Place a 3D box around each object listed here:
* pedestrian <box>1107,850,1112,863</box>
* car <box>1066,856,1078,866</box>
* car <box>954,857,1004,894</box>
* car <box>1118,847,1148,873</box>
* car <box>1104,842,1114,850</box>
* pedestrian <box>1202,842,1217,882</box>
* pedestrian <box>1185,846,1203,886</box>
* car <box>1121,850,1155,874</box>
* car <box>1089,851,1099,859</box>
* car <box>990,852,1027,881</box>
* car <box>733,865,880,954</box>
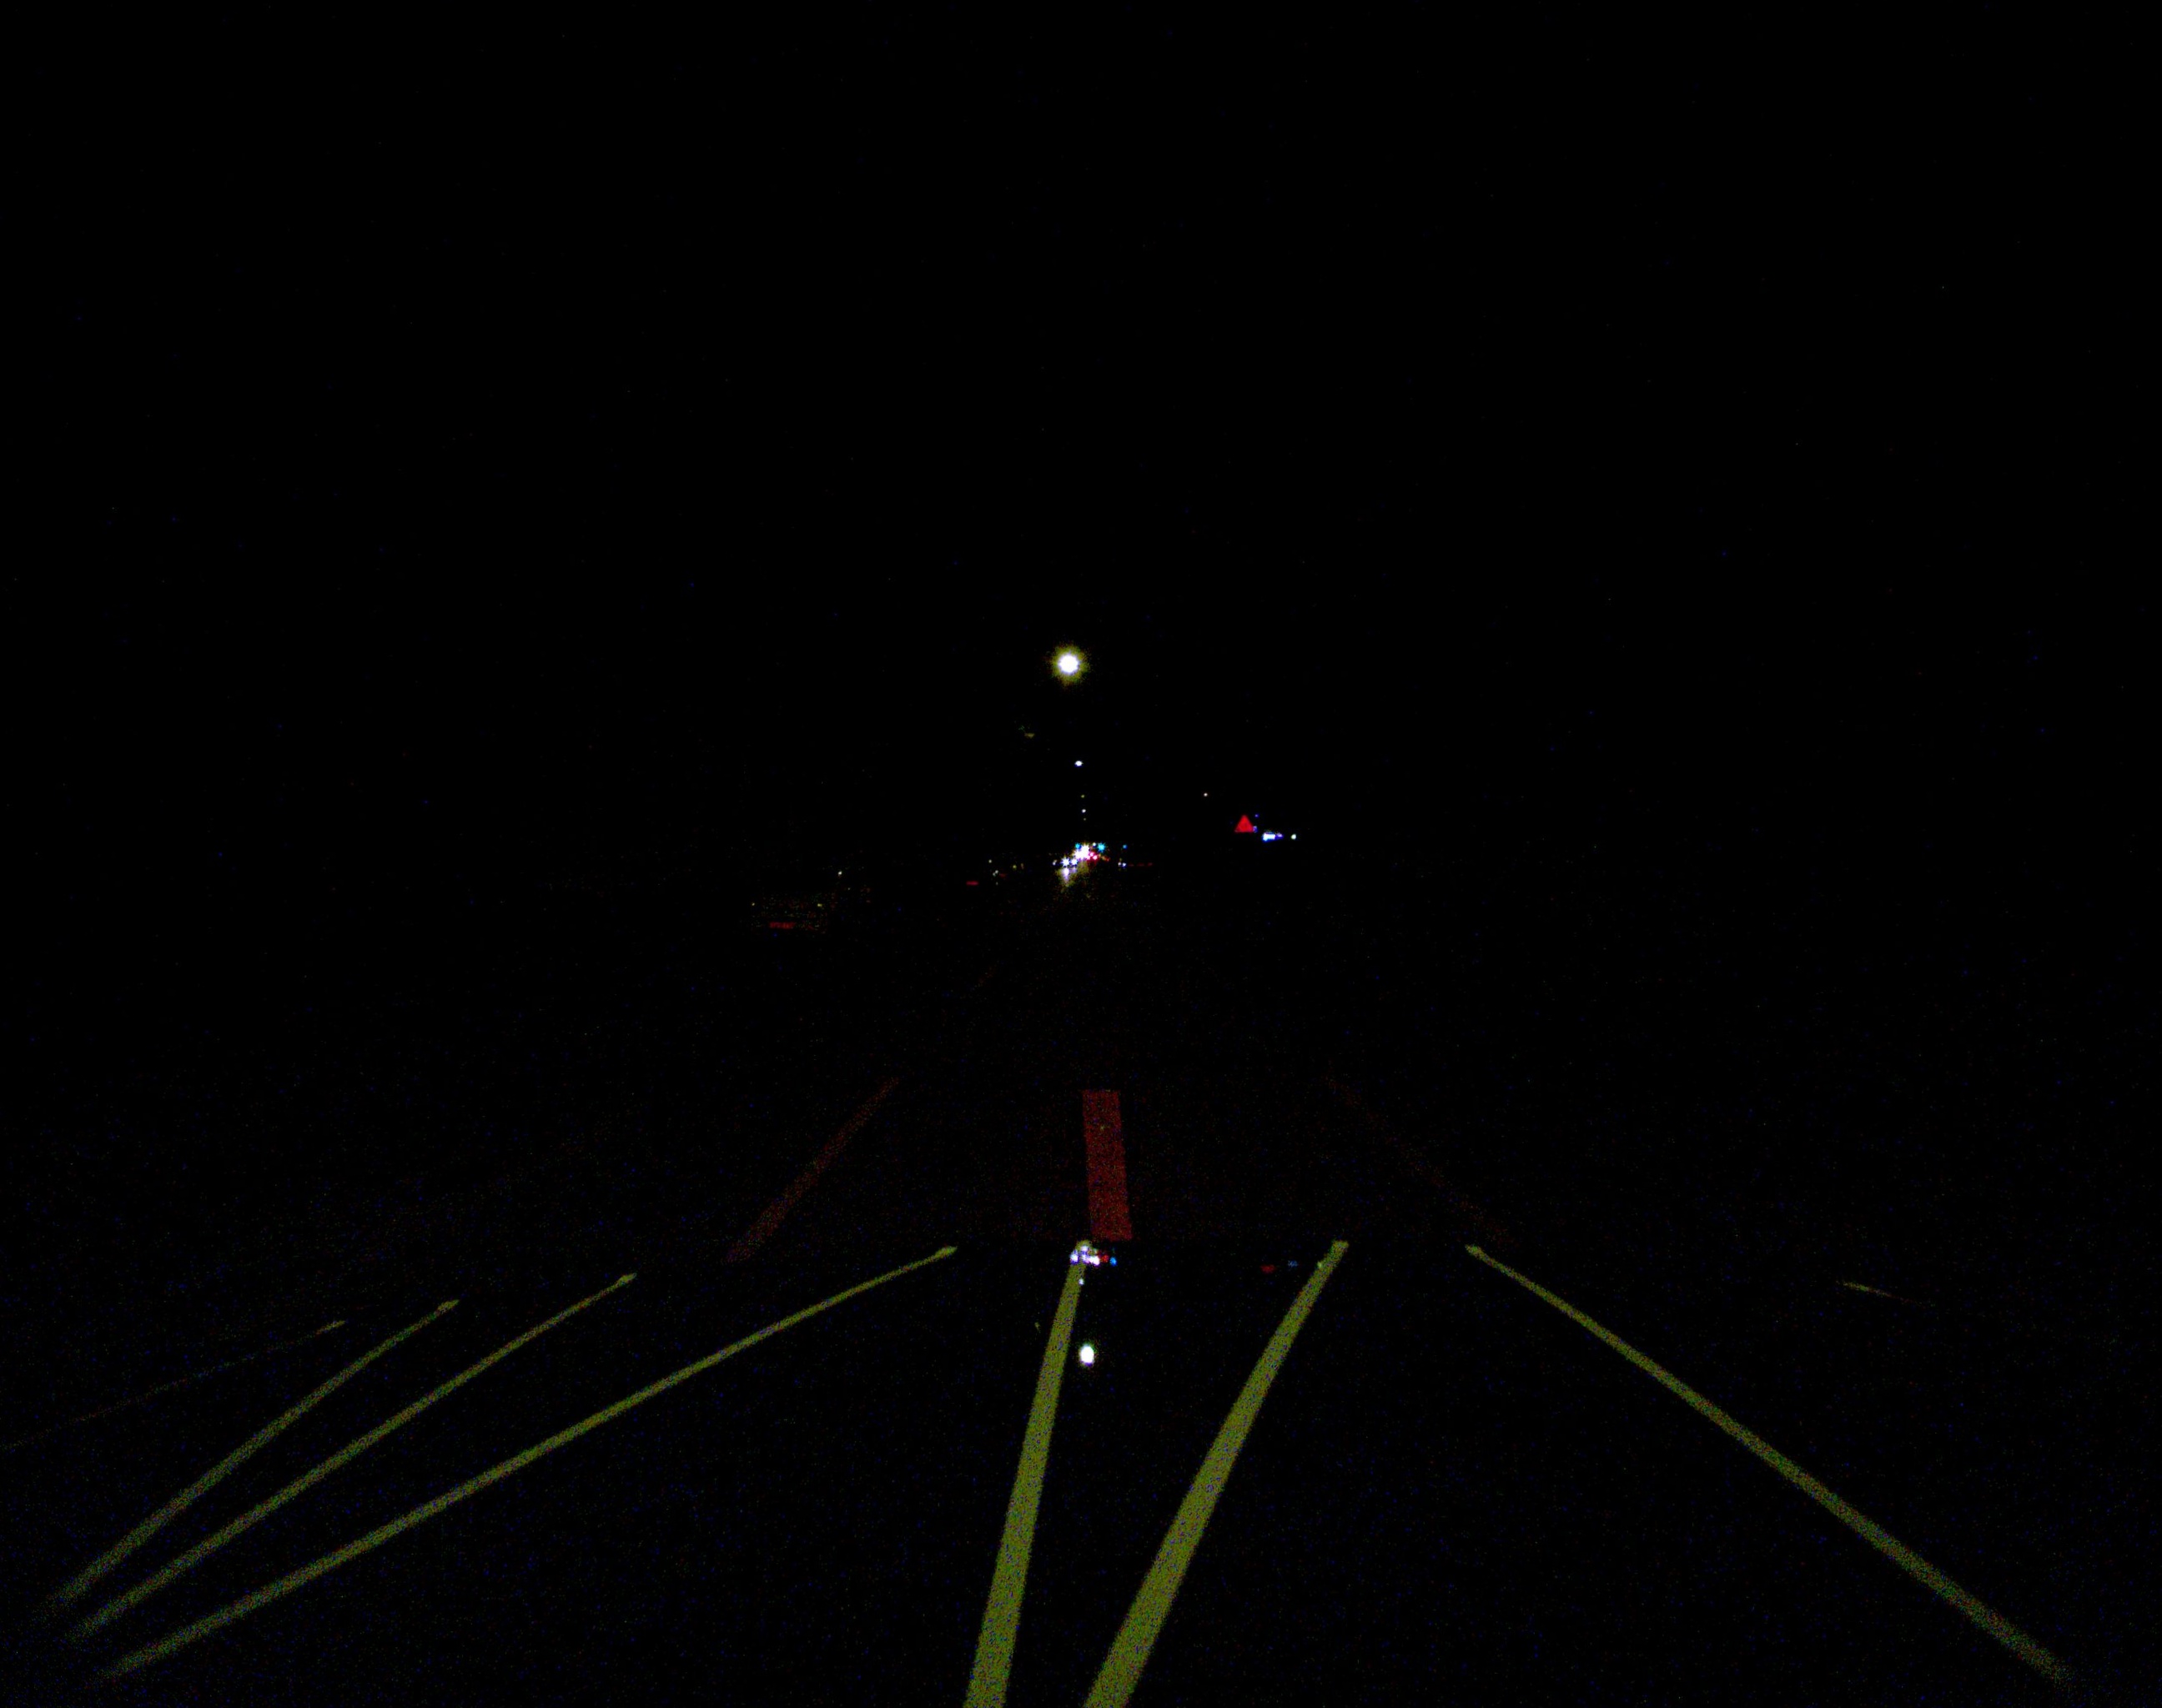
[{"bbox_3d":[4.430,0.421,118.193,0.804,2.002,0.940,-2,1,1],"label":"pedestrian"},{"bbox_3d":[-1.542,1.236,134.436,1.998,1.718,3.803,-2,1,1],"label":"car"},{"bbox_3d":[-4.476,0.900,33.947,1.742,1.489,3.890,-1,0,-1],"label":"car"},{"bbox_3d":[3.859,0.403,56.909,1.998,1.772,3.999,-2,1,1],"label":"car"},{"bbox_3d":[5.668,-1.584,153.973,1.903,1.581,3.661,-2,1,2],"label":"car"},{"bbox_3d":[5.790,0.354,34.289,0.565,1.750,0.500,-2,1,1],"label":"pedestrian"},{"bbox_3d":[5.035,0.512,33.972,0.673,1.750,0.500,-2,1,1],"label":"pedestrian"},{"bbox_3d":[3.882,0.506,52.081,1.998,1.477,3.999,-3,1,1],"label":"car"},{"bbox_3d":[2.486,0.157,147.000,1.754,1.433,3.487,-2,-2,1],"label":"car"},{"bbox_3d":[-4.467,0.745,47.479,1.852,1.643,4.179,-2,0,0],"label":"car"},{"bbox_3d":[-5.261,1.002,15.029,1.611,1.500,3.486,0,0,1],"label":"car"}]
